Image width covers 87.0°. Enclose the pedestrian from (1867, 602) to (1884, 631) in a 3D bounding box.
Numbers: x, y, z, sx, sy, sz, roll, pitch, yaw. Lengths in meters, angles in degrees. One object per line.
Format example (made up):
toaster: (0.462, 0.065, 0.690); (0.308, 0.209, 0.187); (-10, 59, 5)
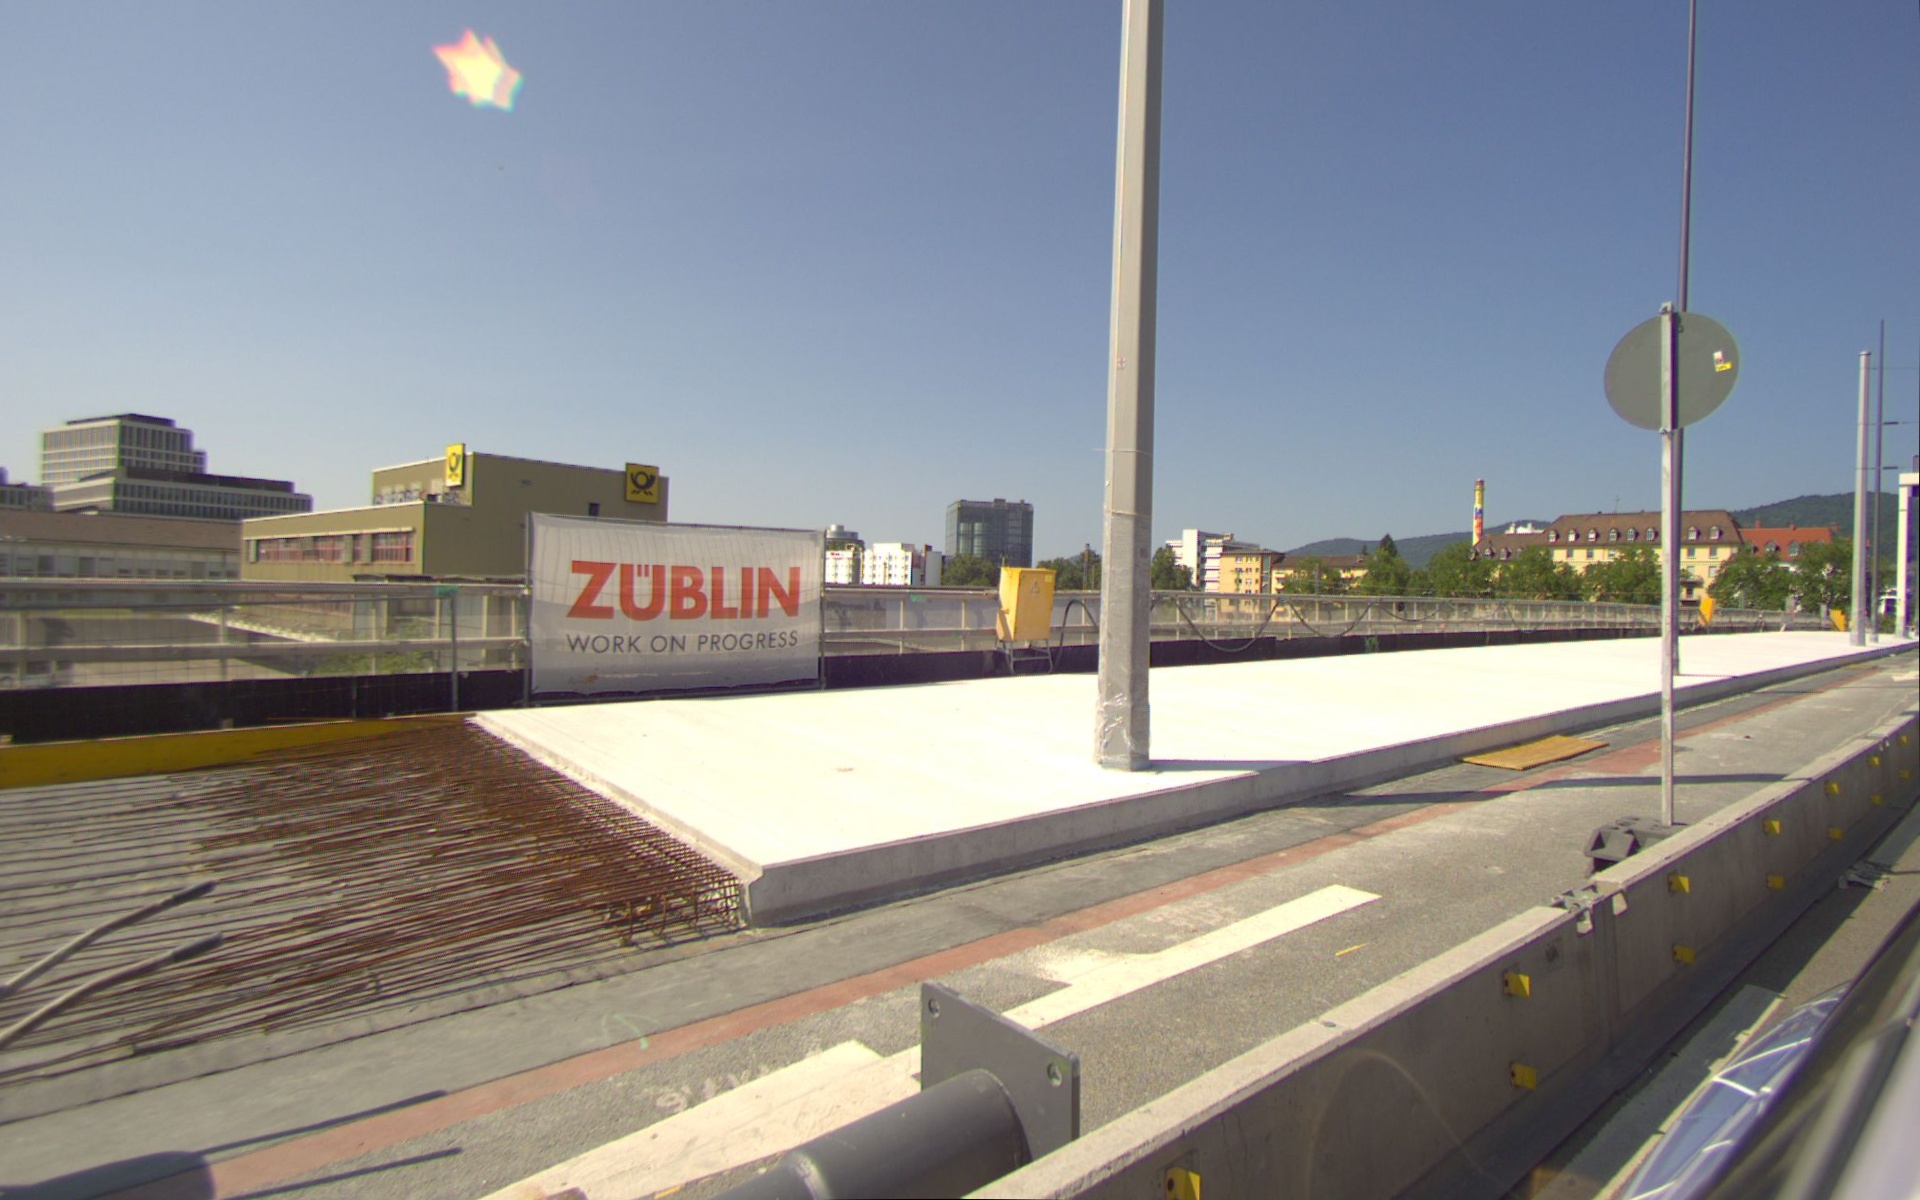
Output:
pedestrian: (63.052, 1.147, 69.700); (1.000, 1.989, 0.732); (2, 0, -45)
